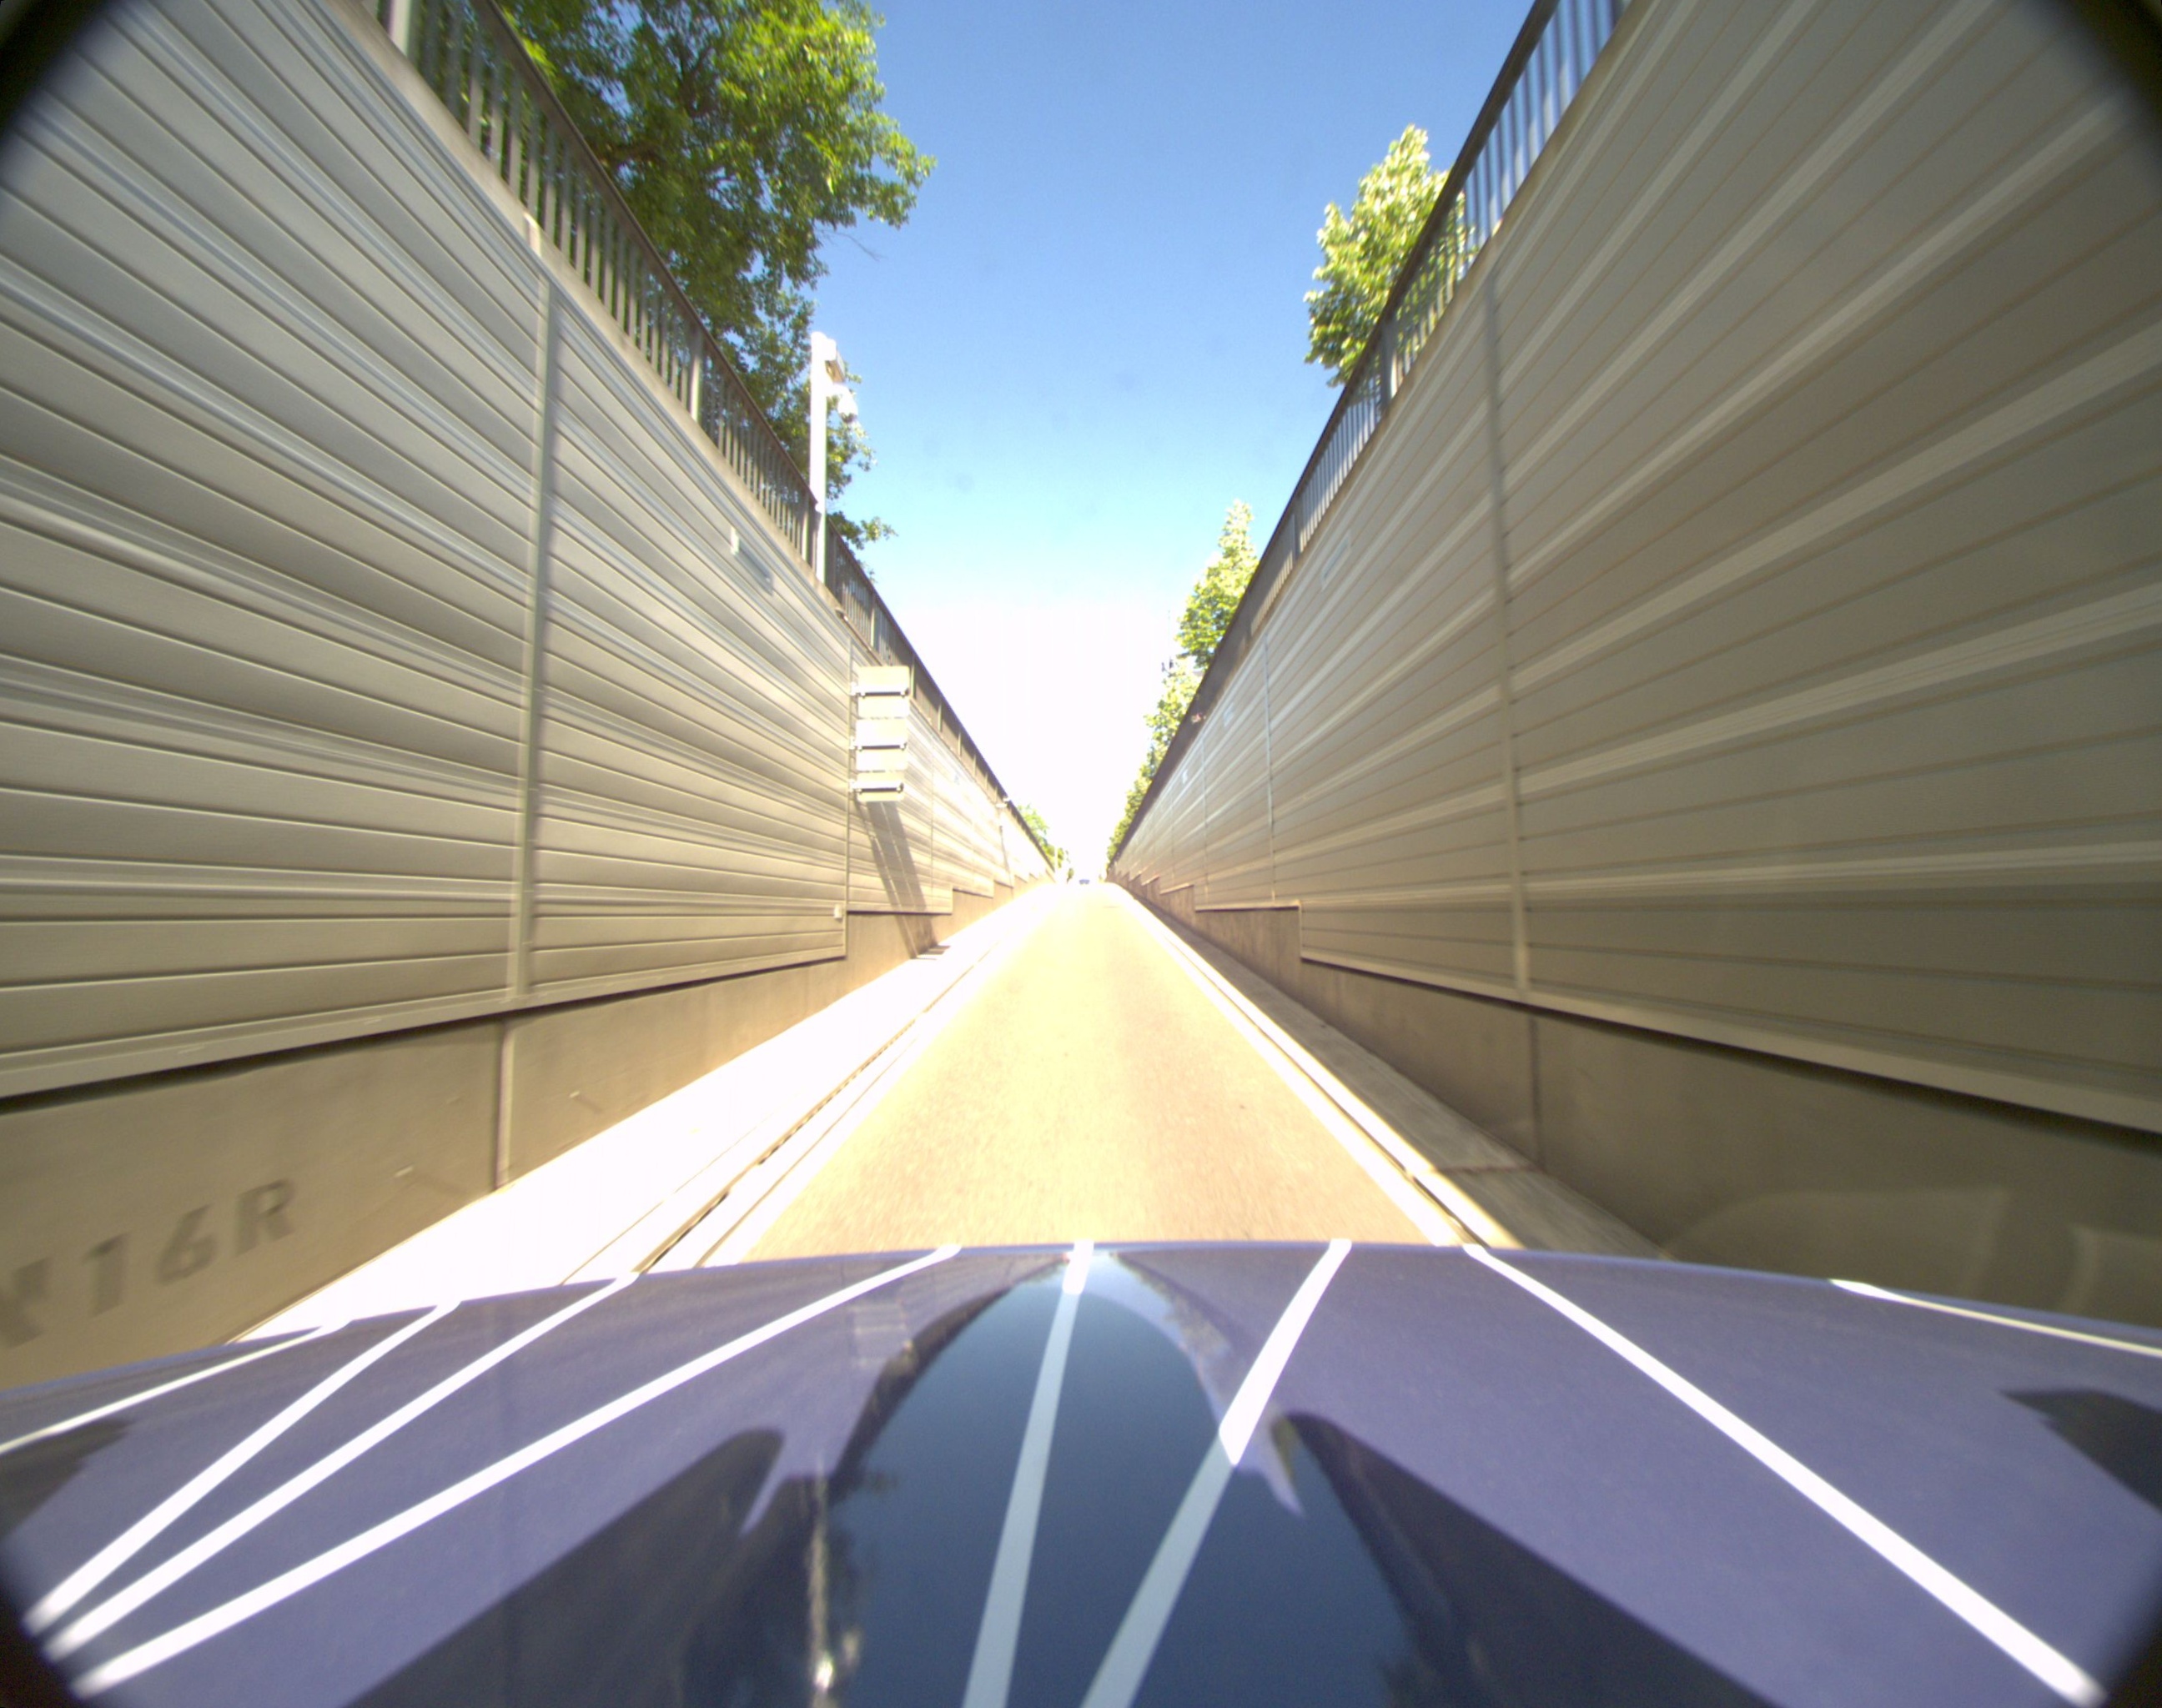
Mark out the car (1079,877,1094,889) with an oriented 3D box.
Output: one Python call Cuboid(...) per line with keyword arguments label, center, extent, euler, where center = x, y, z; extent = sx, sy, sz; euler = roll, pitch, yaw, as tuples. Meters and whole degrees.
Cuboid(label="car", center=(0.705, 3.722, 96.937), extent=(1.829, 1.327, 4.003), euler=(-2, -4, 1))
